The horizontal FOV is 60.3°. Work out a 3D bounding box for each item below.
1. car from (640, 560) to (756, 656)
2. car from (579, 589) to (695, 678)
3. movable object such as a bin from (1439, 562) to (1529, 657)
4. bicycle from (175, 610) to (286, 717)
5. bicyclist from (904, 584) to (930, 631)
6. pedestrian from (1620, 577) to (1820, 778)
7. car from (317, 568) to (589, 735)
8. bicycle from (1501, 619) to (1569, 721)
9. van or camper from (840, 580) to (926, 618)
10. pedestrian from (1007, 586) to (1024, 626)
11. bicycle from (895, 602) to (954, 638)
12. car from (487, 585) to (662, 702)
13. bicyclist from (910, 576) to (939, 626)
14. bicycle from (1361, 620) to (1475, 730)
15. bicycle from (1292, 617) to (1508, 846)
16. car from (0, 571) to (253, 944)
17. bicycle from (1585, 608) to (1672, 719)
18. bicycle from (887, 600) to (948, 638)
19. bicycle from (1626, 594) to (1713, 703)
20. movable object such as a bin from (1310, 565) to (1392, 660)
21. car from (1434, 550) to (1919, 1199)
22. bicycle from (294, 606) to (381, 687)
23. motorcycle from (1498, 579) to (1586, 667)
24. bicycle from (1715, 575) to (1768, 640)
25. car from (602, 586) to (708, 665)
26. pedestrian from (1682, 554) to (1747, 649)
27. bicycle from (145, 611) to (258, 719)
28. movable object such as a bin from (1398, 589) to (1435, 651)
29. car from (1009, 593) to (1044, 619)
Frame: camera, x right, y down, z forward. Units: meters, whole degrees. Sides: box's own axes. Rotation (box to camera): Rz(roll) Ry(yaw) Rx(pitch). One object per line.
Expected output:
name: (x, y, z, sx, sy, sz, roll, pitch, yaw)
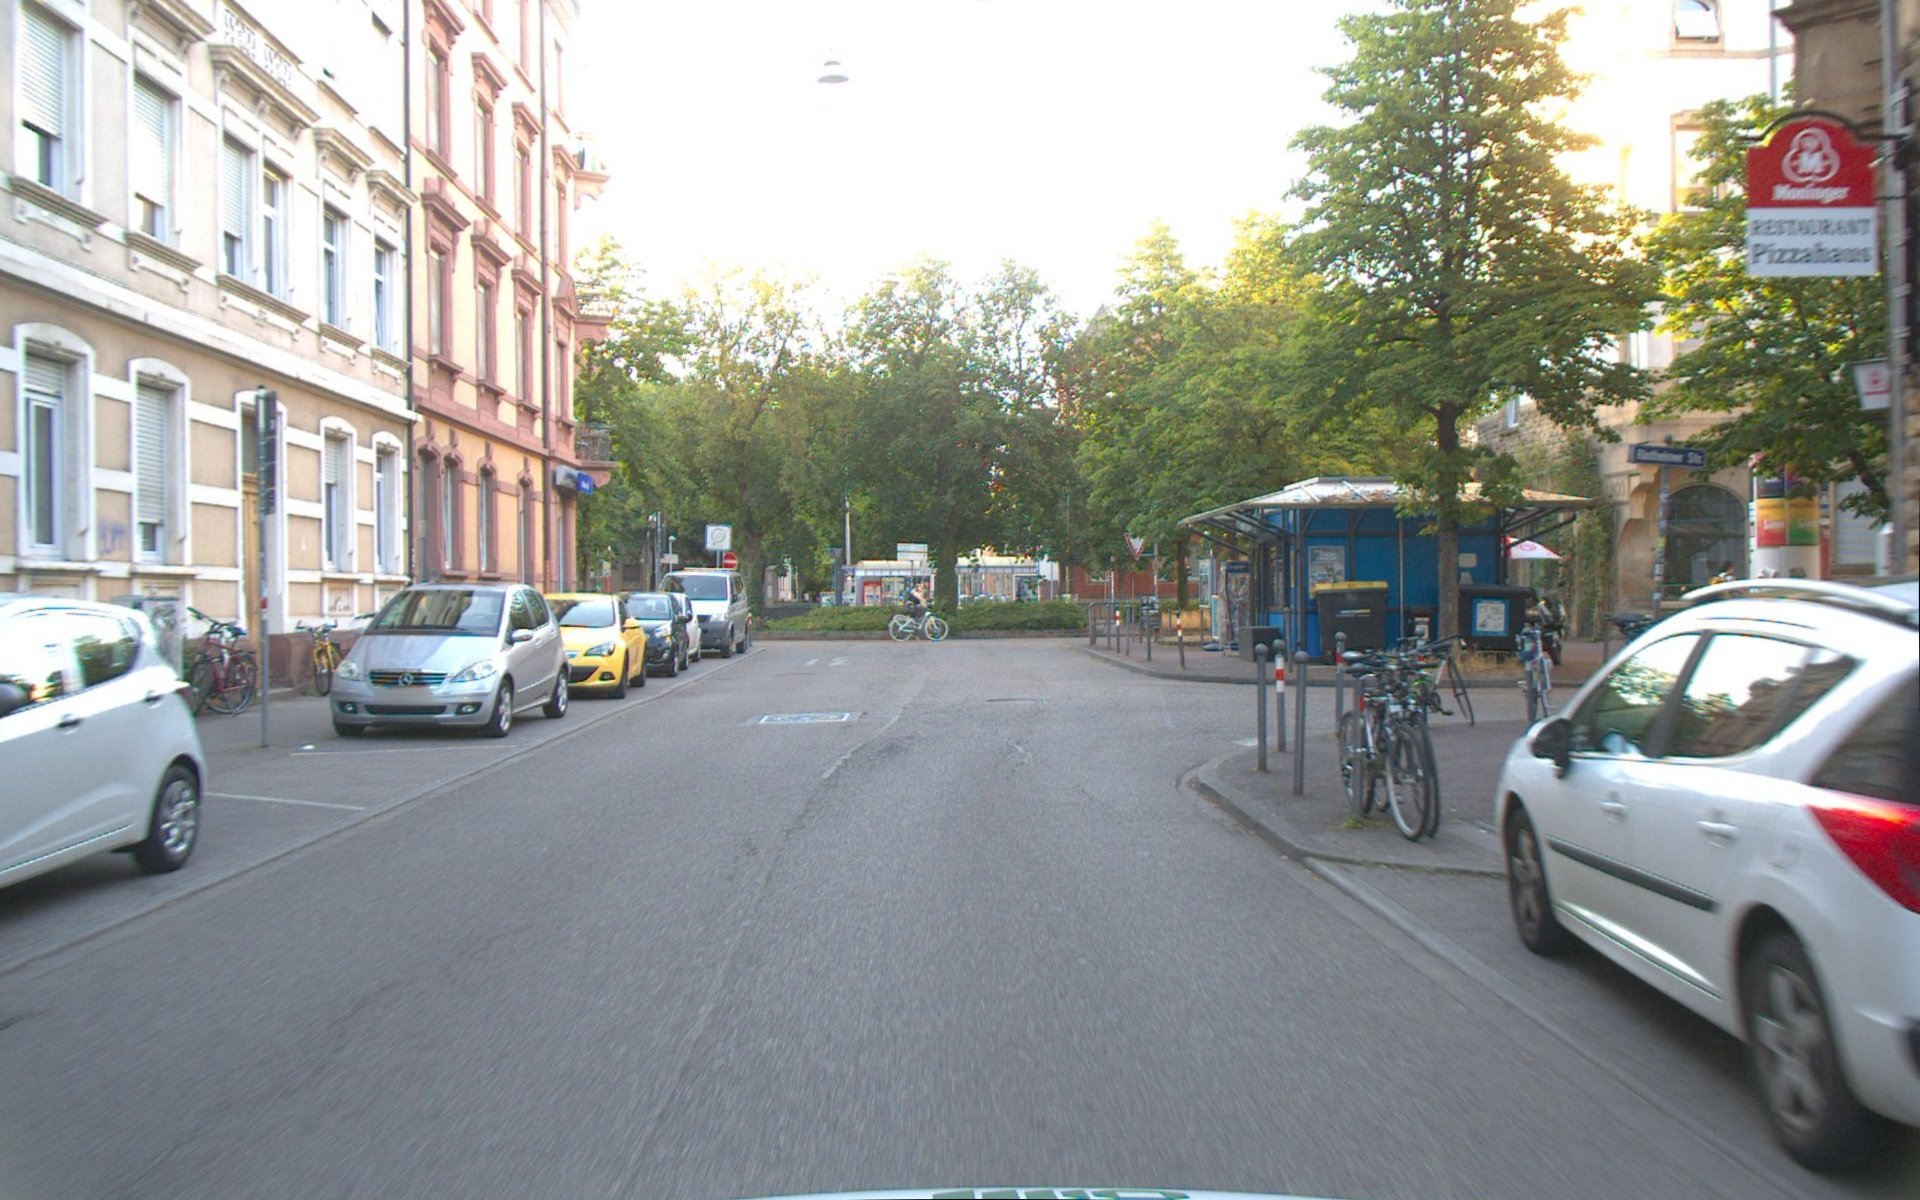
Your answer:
car: (-6.100, 0.170, 39.023, 1.999, 2.093, 5.003, 1, 0, -1)
car: (-5.859, 0.572, 30.350, 1.695, 1.517, 3.738, 1, 0, -6)
movable object such as a bin: (8.800, 0.150, 27.827, 1.254, 1.501, 0.820, 3, 1, 7)
bicycle: (-8.514, 0.712, 19.376, 0.470, 1.160, 1.863, -1, 1, -1)
bicyclist: (-1.275, 0.216, 49.227, 0.721, 1.382, 0.708, -1, 0, -4)
pedestrian: (5.439, 0.518, 11.805, 1.409, 1.308, 0.827, -2, 0, -45)
car: (-5.516, 0.501, 18.555, 1.763, 1.620, 4.145, 1, 0, 0)
bicycle: (6.080, 0.715, 17.539, 0.437, 0.996, 1.707, -1, 0, 11)
van or camper: (-6.616, -0.114, 141.212, 7.223, 3.137, 2.670, 1, 0, -6)
pedestrian: (2.069, 0.213, 61.603, 0.603, 1.456, 0.655, -1, 0, -1)
bicycle: (-1.107, 0.632, 51.866, 1.791, 1.089, 0.709, -1, 0, 0)
car: (-5.694, 0.577, 25.002, 1.802, 1.552, 4.798, 1, 0, -4)
bicyclist: (-1.108, 0.033, 51.869, 0.897, 1.529, 0.709, -1, 0, 0)
bicycle: (4.690, 0.746, 16.896, 1.464, 1.058, 0.425, -1, 0, -44)
bicycle: (2.637, 0.735, 10.171, 0.670, 1.171, 2.115, -4, 1, -1)
car: (-5.015, 0.663, 7.806, 1.717, 1.603, 3.926, 1, 0, -1)
bicycle: (7.041, 0.645, 17.485, 0.501, 1.085, 1.836, -1, 0, 11)
bicycle: (-1.266, 0.556, 49.218, 1.792, 1.089, 0.708, -1, 0, -4)
bicycle: (7.566, 0.490, 17.702, 0.464, 1.089, 1.836, -1, 0, 11)
movable object such as a bin: (6.558, 0.203, 27.783, 1.196, 1.501, 0.766, -4, 0, 7)
car: (3.128, 0.617, 5.827, 1.727, 1.510, 4.465, -3, 1, 2)
bicycle: (-8.930, 0.650, 23.786, 0.649, 1.089, 1.833, -1, 0, -4)
motorcycle: (10.132, 0.376, 28.855, 0.849, 1.479, 1.882, -1, 1, -1)
bicycle: (15.158, 0.130, 32.050, 0.622, 1.208, 1.908, -2, 0, 34)
car: (-6.279, 0.496, 34.406, 1.650, 1.517, 3.612, 1, 0, -2)
pedestrian: (14.837, 0.035, 32.507, 0.960, 1.820, 1.002, -2, -1, 35)
bicycle: (-8.848, 0.731, 19.366, 0.470, 1.160, 1.863, -1, 1, -1)
movable object such as a bin: (7.685, 0.329, 27.839, 0.470, 1.019, 0.487, -1, 0, -1)
car: (4.594, 0.437, 115.003, 1.954, 1.733, 4.717, 1, 0, -3)
